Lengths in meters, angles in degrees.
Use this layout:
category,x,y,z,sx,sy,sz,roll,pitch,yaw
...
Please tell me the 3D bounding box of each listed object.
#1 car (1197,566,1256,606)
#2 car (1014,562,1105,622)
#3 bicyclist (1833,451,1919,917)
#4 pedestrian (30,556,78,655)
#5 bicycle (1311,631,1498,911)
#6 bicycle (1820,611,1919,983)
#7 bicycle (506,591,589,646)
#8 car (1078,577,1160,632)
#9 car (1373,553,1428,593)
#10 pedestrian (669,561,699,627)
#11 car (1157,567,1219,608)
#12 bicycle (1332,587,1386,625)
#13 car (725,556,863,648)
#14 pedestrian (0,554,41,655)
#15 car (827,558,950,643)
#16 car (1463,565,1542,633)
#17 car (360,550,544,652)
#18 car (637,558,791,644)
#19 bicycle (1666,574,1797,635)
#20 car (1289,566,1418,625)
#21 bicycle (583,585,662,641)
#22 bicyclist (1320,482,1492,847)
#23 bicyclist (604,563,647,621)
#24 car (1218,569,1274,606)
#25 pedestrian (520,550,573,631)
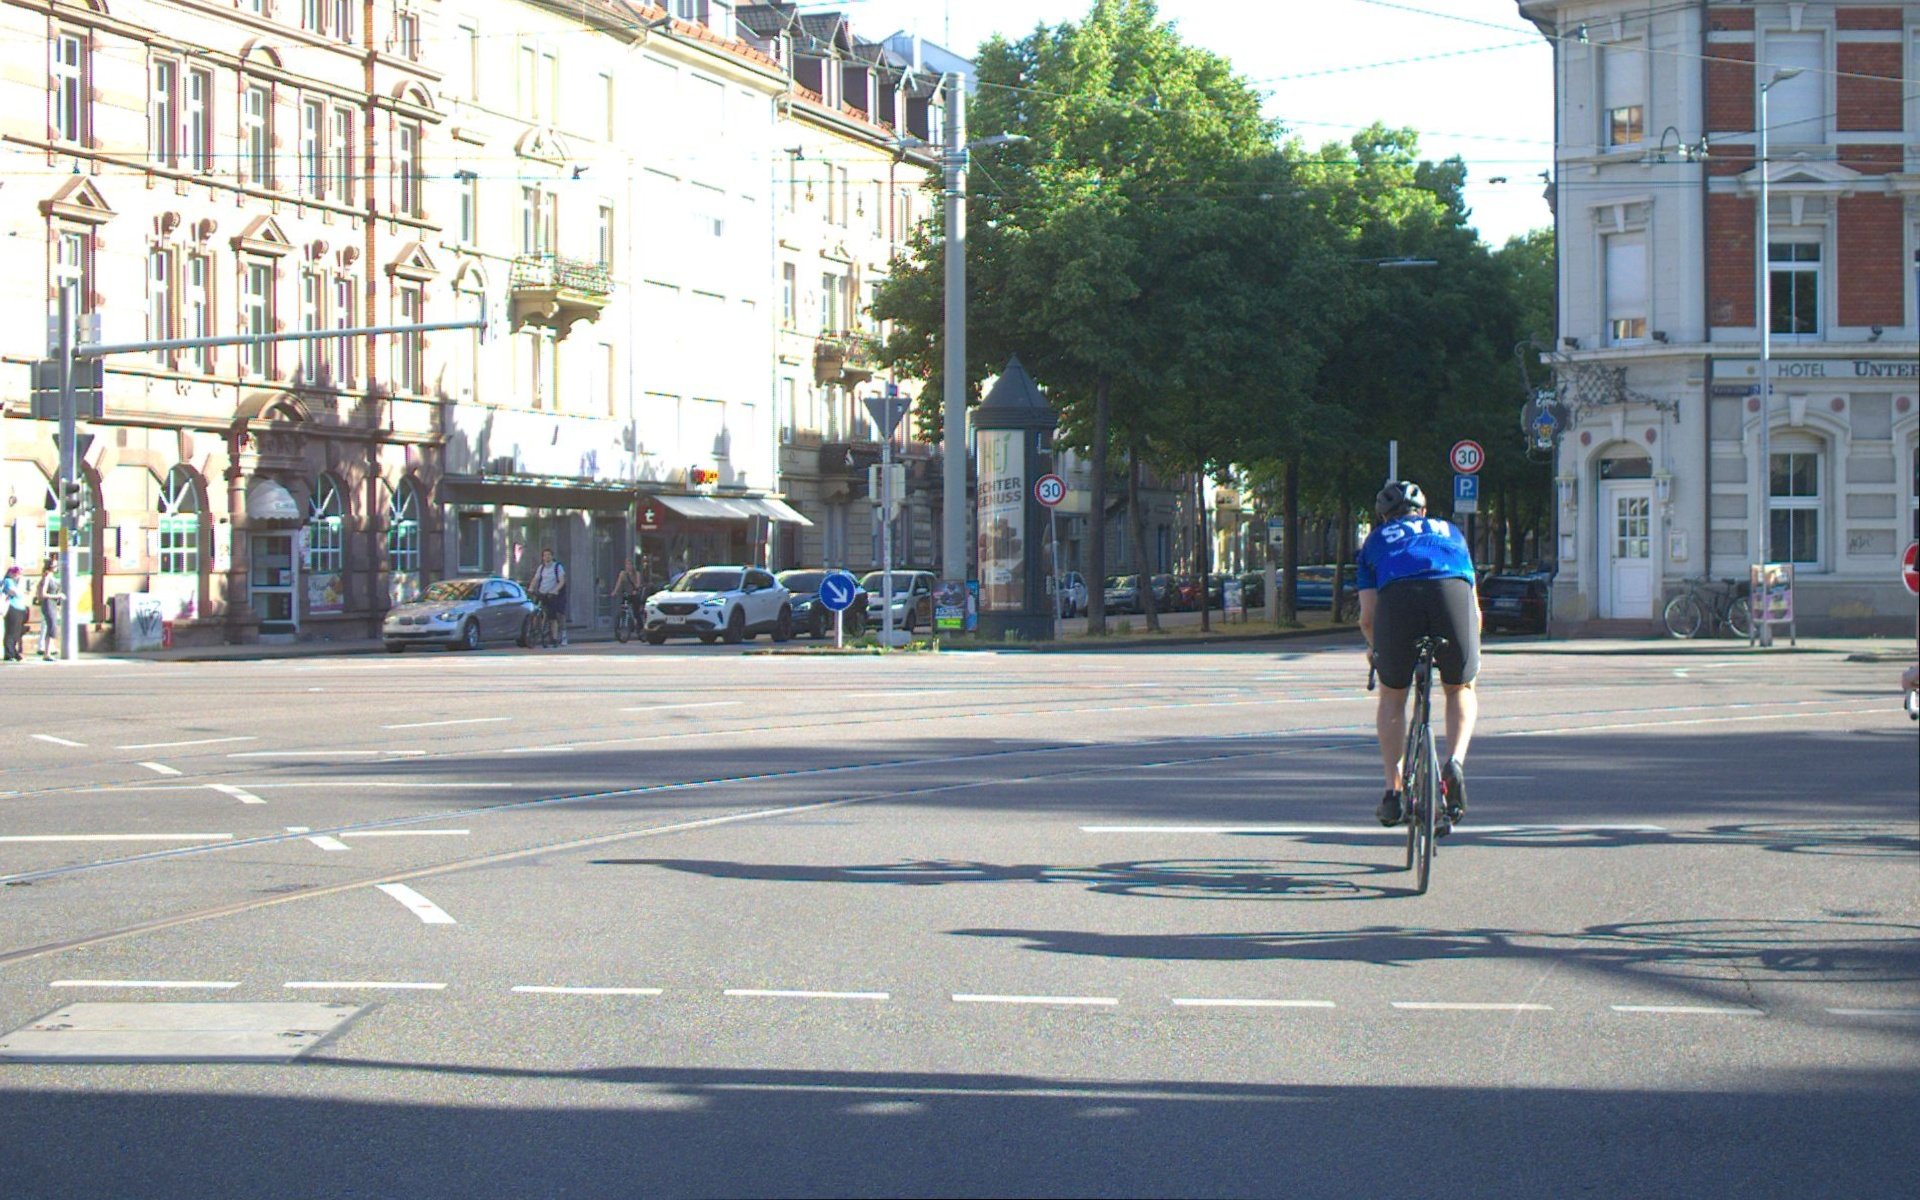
category,x,y,z,sx,sy,sz,roll,pitch,yaw
car,10.550,-0.562,136.020,1.560,1.508,3.653,1,1,17
car,3.274,-0.273,112.702,1.995,1.897,3.997,1,1,17
bicyclist,3.601,0.289,12.227,0.806,1.601,0.883,1,0,5
pedestrian,-15.076,0.081,57.226,0.633,1.628,0.701,1,0,-4
bicycle,1.870,0.693,14.635,0.626,1.081,1.703,1,1,2
bicycle,3.633,0.670,12.398,0.755,1.232,1.702,1,0,5
bicycle,-7.822,0.342,65.286,0.763,1.004,2.395,1,1,13
car,5.683,0.154,122.634,1.995,1.897,3.997,1,1,17
car,17.262,-1.064,134.669,1.560,1.508,3.653,1,1,17
pedestrian,-6.906,-0.150,86.005,0.544,1.626,0.706,1,0,13
car,8.769,-0.492,132.094,1.560,1.508,3.653,1,1,17
bicycle,11.498,0.173,99.069,0.626,1.081,1.703,1,1,-31
car,-3.518,0.024,73.474,1.994,1.897,3.998,1,1,11
pedestrian,-15.340,0.063,55.904,0.633,1.628,0.701,1,0,-4
car,-1.632,-0.013,79.797,1.994,1.897,3.998,1,1,11
car,13.060,-0.035,82.591,1.692,1.559,3.839,1,1,11
car,-9.880,-0.001,67.138,1.995,1.897,3.997,1,1,17
car,-4.773,0.002,67.336,1.994,1.612,3.998,1,1,11
bicycle,12.798,0.070,57.073,2.049,0.994,0.630,0,0,3
car,13.154,-0.160,114.972,3.990,1.897,1.998,1,0,16
bicycle,-6.925,0.252,70.633,0.651,1.119,2.250,1,1,21
bicyclist,1.880,0.250,14.581,0.639,1.489,0.883,1,2,4
bicyclist,-6.875,-0.171,70.735,0.632,1.181,0.684,1,0,21
car,11.873,-0.514,142.407,1.560,1.508,3.653,1,1,17
pedestrian,-7.836,-0.185,65.207,0.821,1.507,0.598,1,0,15
